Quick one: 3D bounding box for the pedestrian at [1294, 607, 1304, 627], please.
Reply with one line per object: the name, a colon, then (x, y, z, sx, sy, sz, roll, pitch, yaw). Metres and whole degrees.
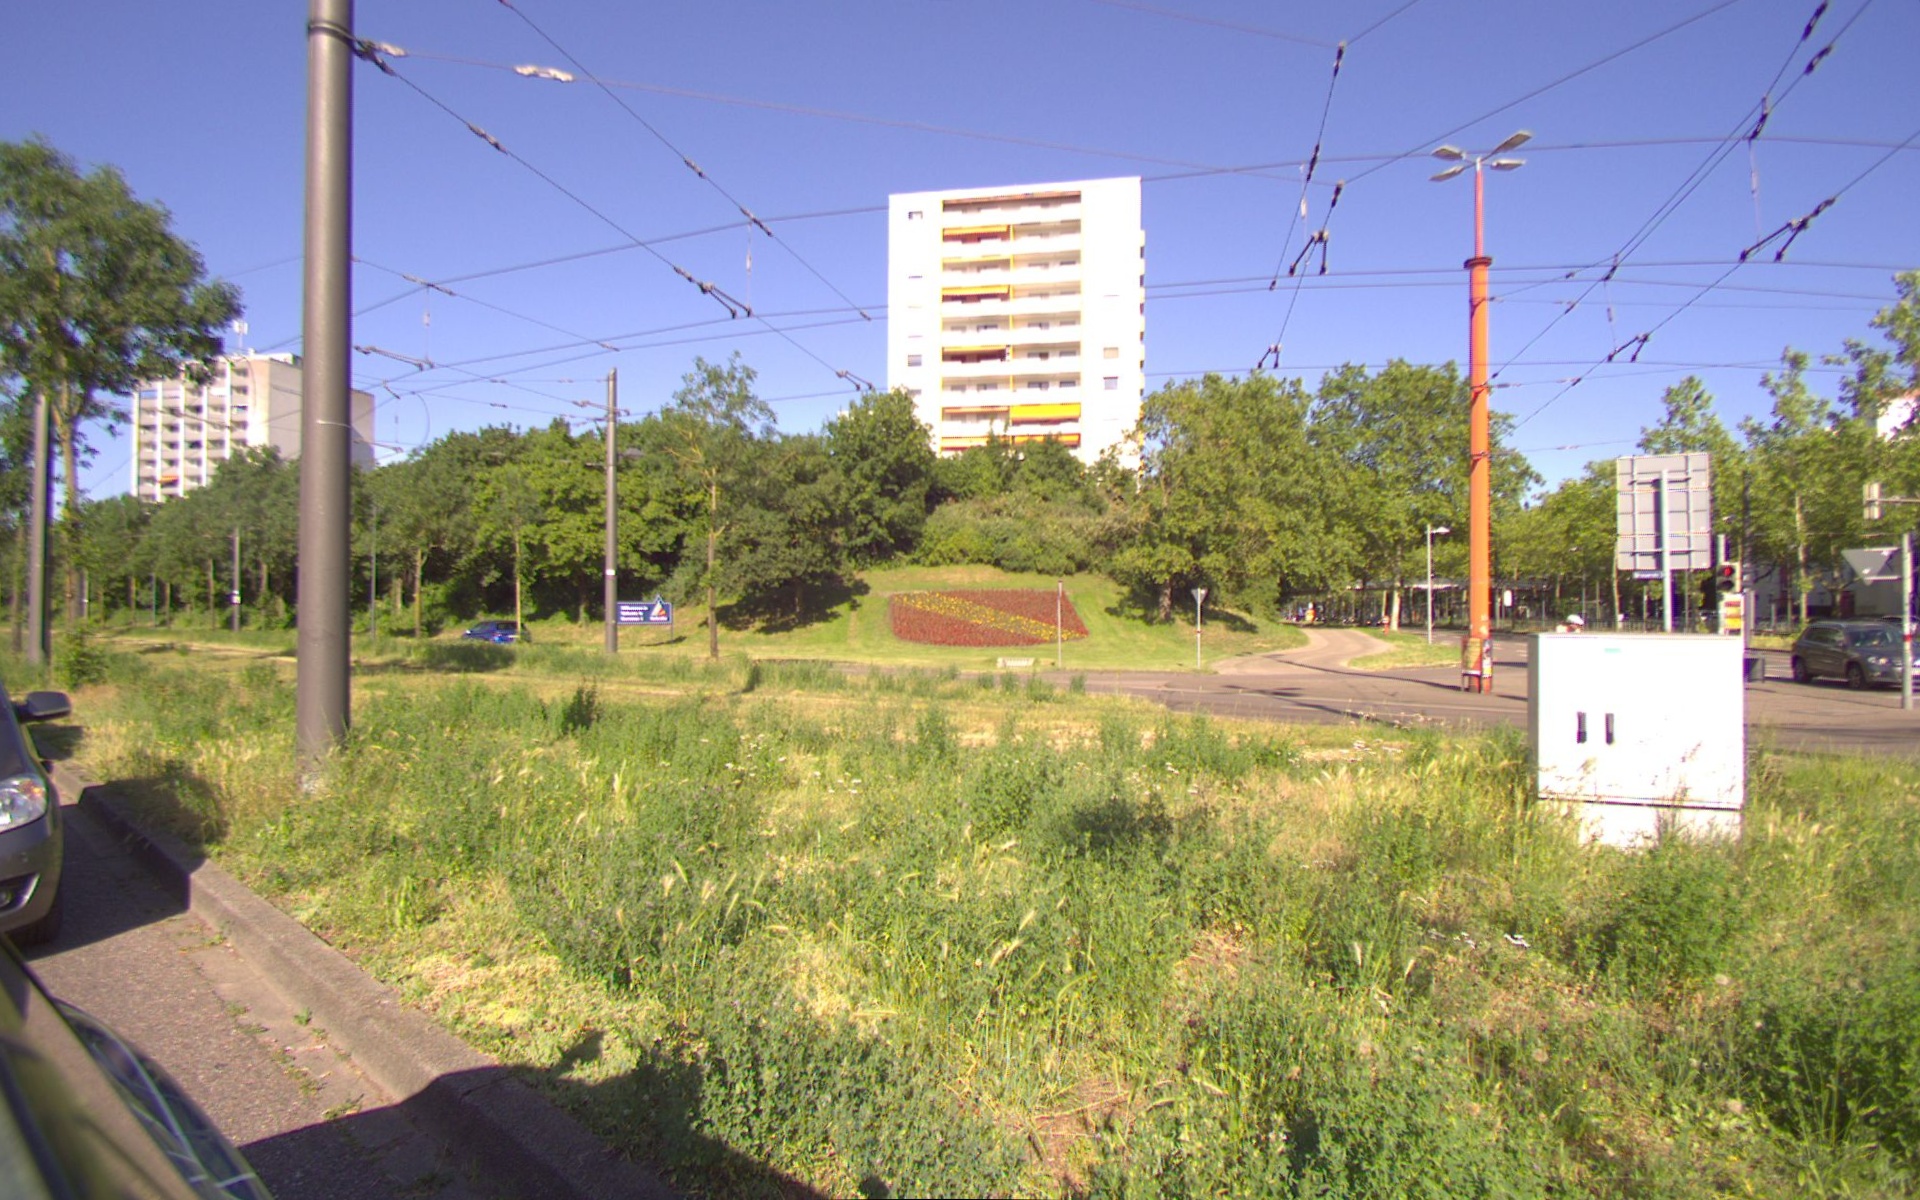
pedestrian: (26.011, 1.295, 77.715, 0.682, 1.568, 0.984, -1, -1, 22)

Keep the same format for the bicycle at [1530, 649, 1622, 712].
bicycle: (12.067, 1.544, 19.896, 0.571, 1.079, 1.917, -1, 0, -3)

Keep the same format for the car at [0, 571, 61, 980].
car: (-5.826, 0.749, 4.897, 3.998, 1.652, 1.726, -1, 0, 41)

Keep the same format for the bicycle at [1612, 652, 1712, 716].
bicycle: (13.502, 1.592, 19.543, 0.571, 1.079, 1.916, -1, 0, 0)

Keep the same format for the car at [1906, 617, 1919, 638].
car: (63.685, 1.772, 65.168, 1.472, 1.341, 3.746, -1, 0, -27)

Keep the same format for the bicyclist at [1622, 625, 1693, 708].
bicyclist: (13.489, 1.262, 19.593, 0.710, 1.536, 0.924, -1, 0, 0)

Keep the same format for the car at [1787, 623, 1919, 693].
car: (23.014, 1.389, 25.424, 1.900, 1.507, 4.026, -1, 0, 15)

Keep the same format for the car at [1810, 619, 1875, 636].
car: (64.405, 1.983, 73.852, 1.425, 1.197, 3.423, -1, 0, -41)

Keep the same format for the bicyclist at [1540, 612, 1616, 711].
bicyclist: (12.113, 1.188, 19.879, 0.880, 1.881, 0.924, -1, 0, -2)

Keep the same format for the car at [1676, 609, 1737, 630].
car: (72.142, 1.933, 97.877, 1.909, 1.999, 4.350, 1, -2, -38)

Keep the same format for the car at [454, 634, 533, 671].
car: (-19.376, 2.135, 41.966, 3.908, 1.431, 1.557, -1, -2, 42)
